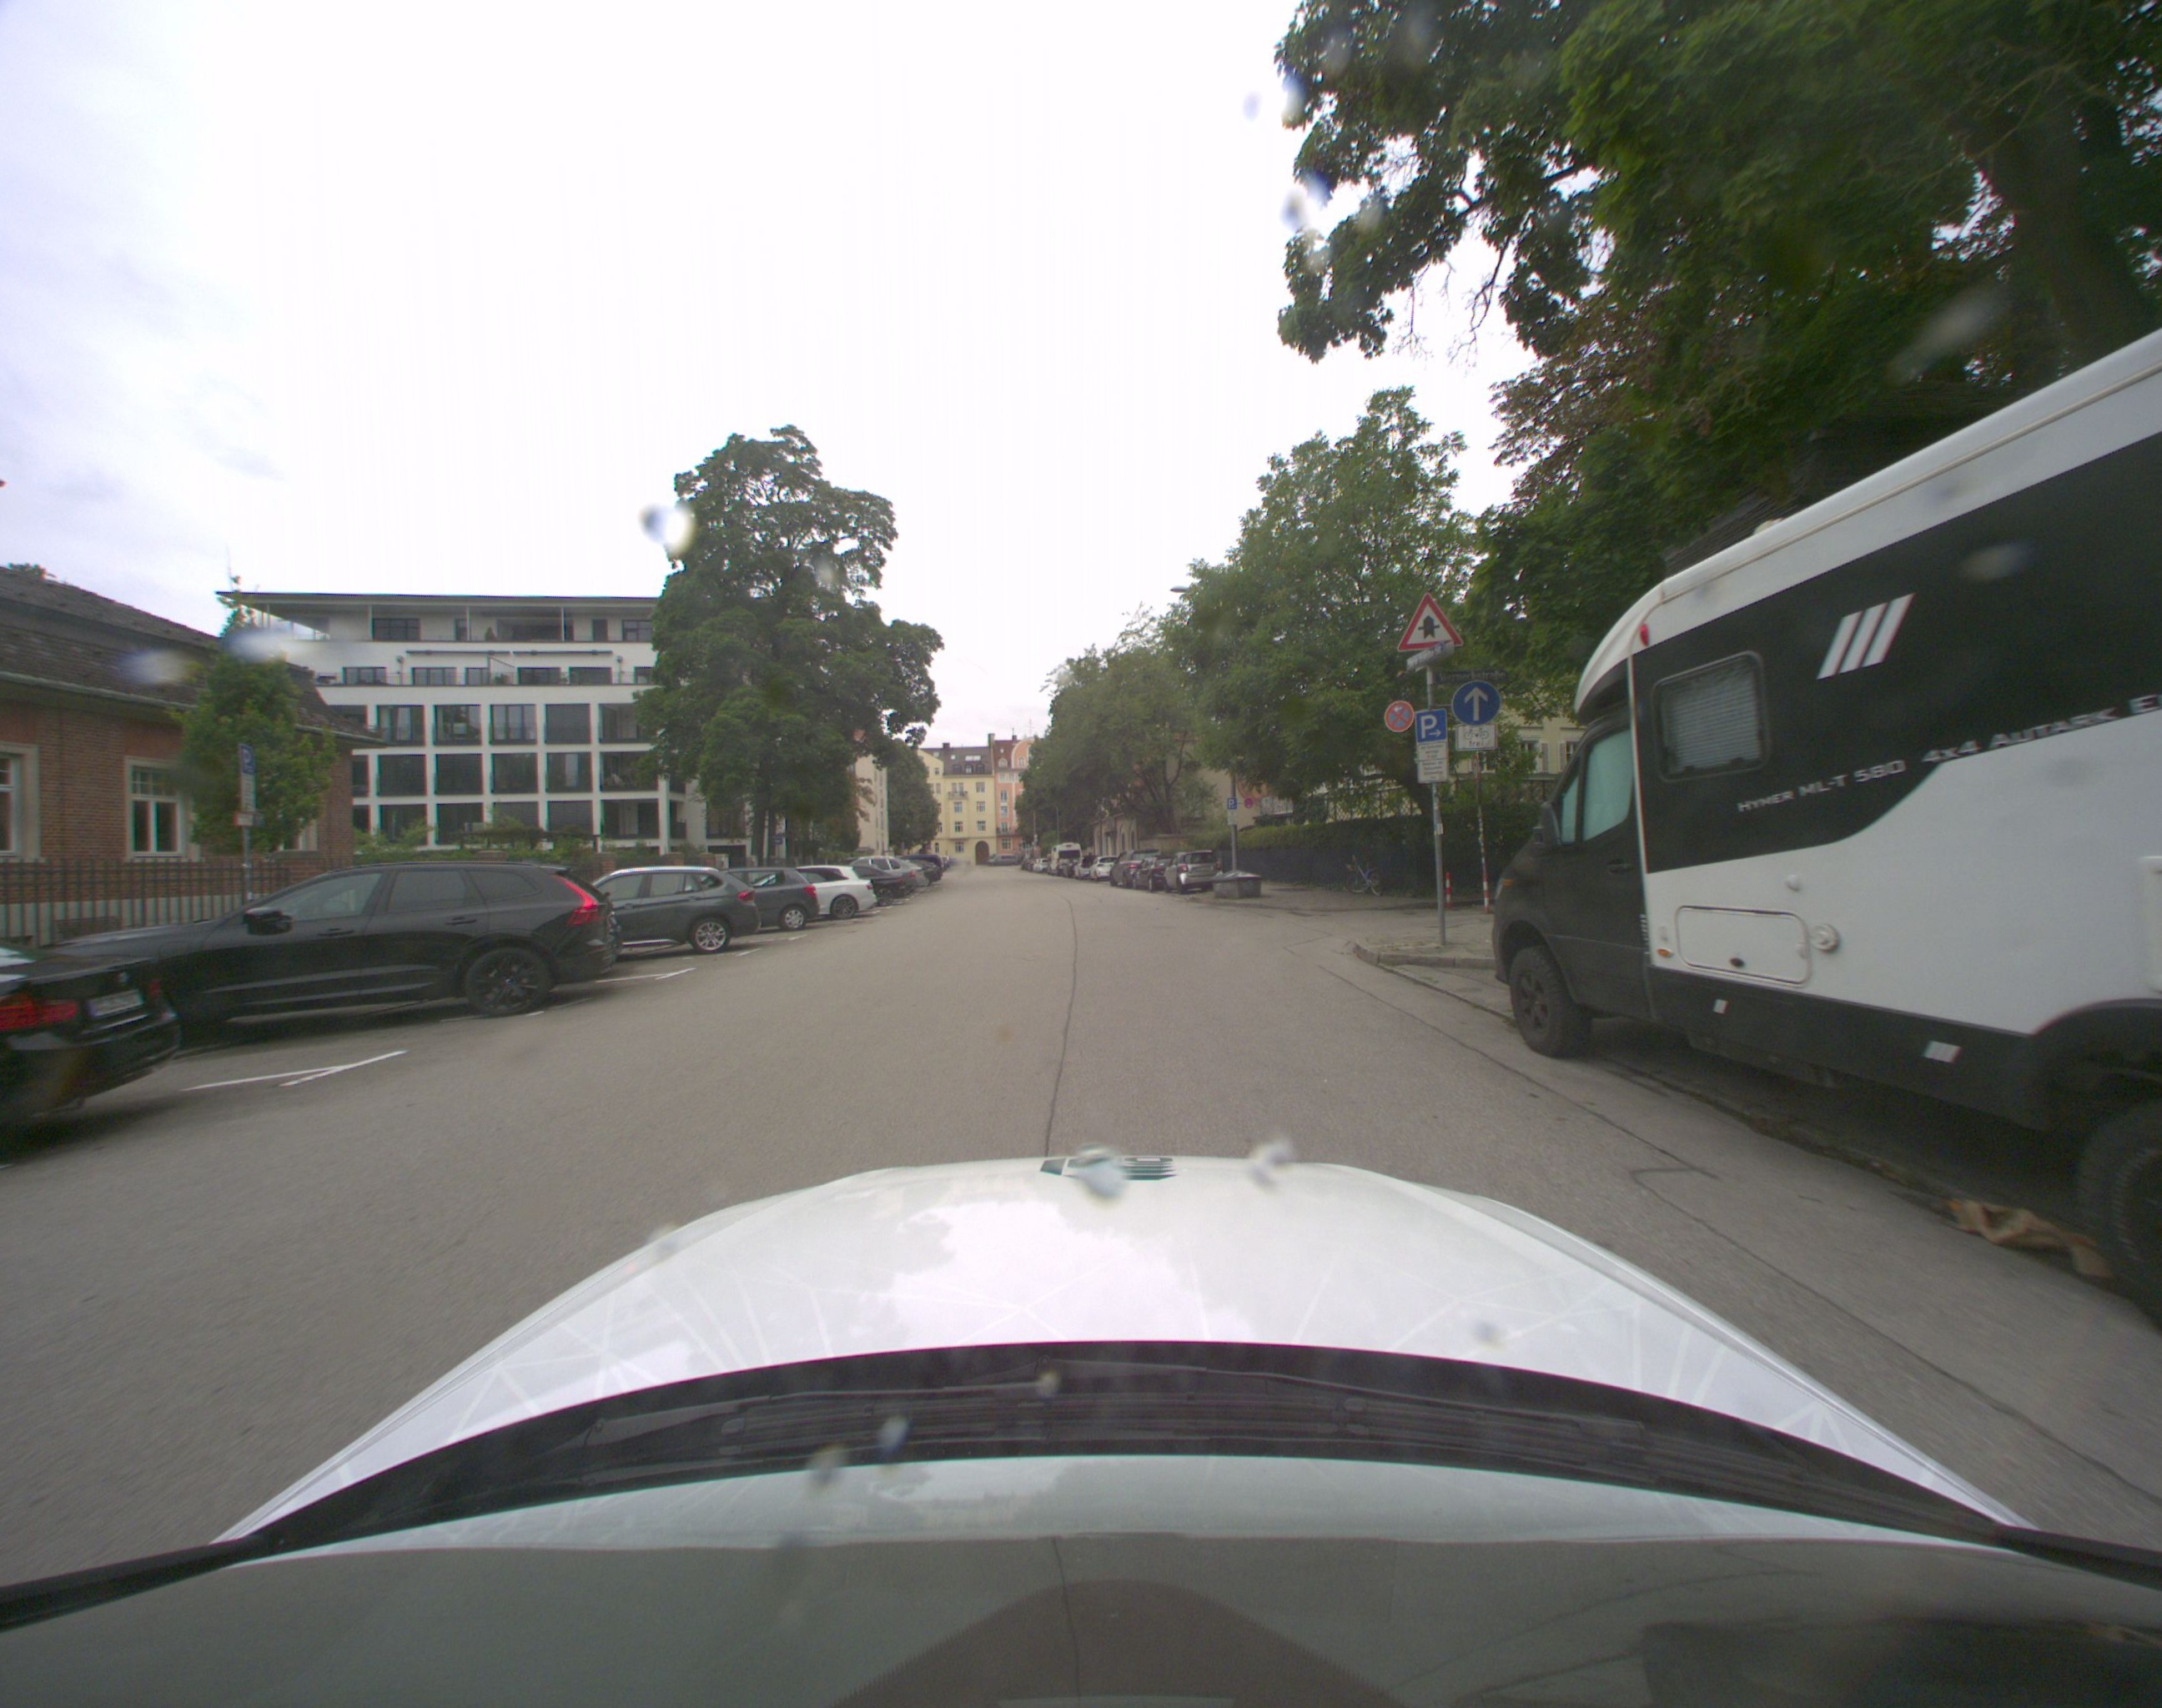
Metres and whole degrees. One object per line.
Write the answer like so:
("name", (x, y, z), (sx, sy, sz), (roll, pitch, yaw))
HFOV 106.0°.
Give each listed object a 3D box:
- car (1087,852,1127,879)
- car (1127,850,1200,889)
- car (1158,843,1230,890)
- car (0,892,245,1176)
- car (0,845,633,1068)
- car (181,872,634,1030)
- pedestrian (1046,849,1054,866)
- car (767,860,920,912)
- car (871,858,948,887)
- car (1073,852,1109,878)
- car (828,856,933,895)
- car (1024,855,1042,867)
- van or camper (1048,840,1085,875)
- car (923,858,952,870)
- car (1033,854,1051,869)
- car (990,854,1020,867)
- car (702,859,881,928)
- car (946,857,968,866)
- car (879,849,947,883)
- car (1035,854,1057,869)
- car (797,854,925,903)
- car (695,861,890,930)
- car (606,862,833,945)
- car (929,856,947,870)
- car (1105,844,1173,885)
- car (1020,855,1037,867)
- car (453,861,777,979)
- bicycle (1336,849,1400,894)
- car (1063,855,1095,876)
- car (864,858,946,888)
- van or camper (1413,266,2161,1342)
("car", (1.482, 0.690, 48.121), (1.684, 1.441, 3.990), (-3, 0, -7))
("car", (3.379, 0.619, 34.051), (1.877, 1.427, 4.207), (-4, 0, -10))
("car", (4.103, 0.477, 29.986), (1.739, 1.536, 2.935), (-4, -1, -10))
("car", (-7.830, 1.103, 4.141), (4.539, 1.418, 1.910), (-4, 0, -28))
("car", (-7.499, 0.878, 8.785), (4.539, 1.665, 1.969), (-3, 0, -28))
("car", (-8.619, 1.137, 11.024), (4.340, 1.471, 1.804), (-4, 1, -27))
("pedestrian", (-3.655, 0.422, 96.635), (0.772, 2.013, 0.561), (-2, 0, -8))
("car", (-7.842, 1.019, 27.069), (4.434, 1.439, 1.943), (-2, -1, -39))
("car", (-10.417, 1.141, 49.642), (4.230, 1.461, 1.721), (-4, 0, -29))
("car", (0.591, 0.686, 53.171), (1.706, 1.537, 4.229), (-4, 0, -7))
("car", (-9.589, 0.995, 38.990), (4.425, 1.621, 2.067), (-2, -1, -29))
("car", (-5.802, 0.826, 98.281), (1.671, 1.344, 3.824), (-3, 2, -11))
("van or camper", (-1.217, 0.299, 65.669), (2.191, 2.550, 5.711), (-3, 0, -8))
("car", (-21.322, 1.512, 121.301), (3.986, 1.508, 1.835), (-5, 0, -9))
("car", (-4.262, 0.828, 88.704), (1.706, 1.466, 3.828), (-3, 0, -7))
("car", (-12.440, 1.023, 132.697), (4.703, 1.880, 1.834), (-2, 0, -10))
("car", (-8.421, 1.094, 23.817), (4.533, 1.509, 1.912), (-5, 1, -32))
("car", (-23.313, 1.343, 153.785), (3.983, 1.586, 1.699), (-2, 0, -7))
("car", (-11.746, 0.847, 57.116), (4.238, 2.066, 1.718), (-4, 0, -37))
("car", (-3.651, 0.803, 83.814), (1.707, 1.408, 4.117), (-3, 0, -9))
("car", (-8.757, 0.947, 32.661), (4.436, 1.699, 2.111), (-2, -1, -40))
("car", (-7.593, 1.028, 21.567), (4.533, 1.451, 1.878), (-3, 0, -32))
("car", (-8.010, 1.026, 18.227), (4.408, 1.451, 1.641), (-3, 0, -29))
("car", (-17.494, 1.114, 99.546), (1.833, 1.508, 3.990), (-5, 0, -7))
("car", (2.673, 0.485, 38.629), (1.994, 1.711, 4.867), (-4, 0, -10))
("car", (-6.695, 0.853, 103.112), (1.671, 1.344, 3.824), (-3, 2, -11))
("car", (-7.852, 1.017, 14.128), (4.541, 1.567, 1.871), (-2, 0, -30))
("bicycle", (7.828, 0.450, 22.290), (0.805, 1.162, 1.968), (-2, 0, -8))
("car", (-0.219, 0.833, 58.891), (1.706, 1.369, 4.429), (-3, 0, -7))
("car", (-10.104, 1.090, 46.886), (4.239, 1.461, 1.717), (-4, 0, -38))
("van or camper", (4.082, -0.157, 3.635), (2.264, 2.906, 7.278), (-2, 0, 1))
